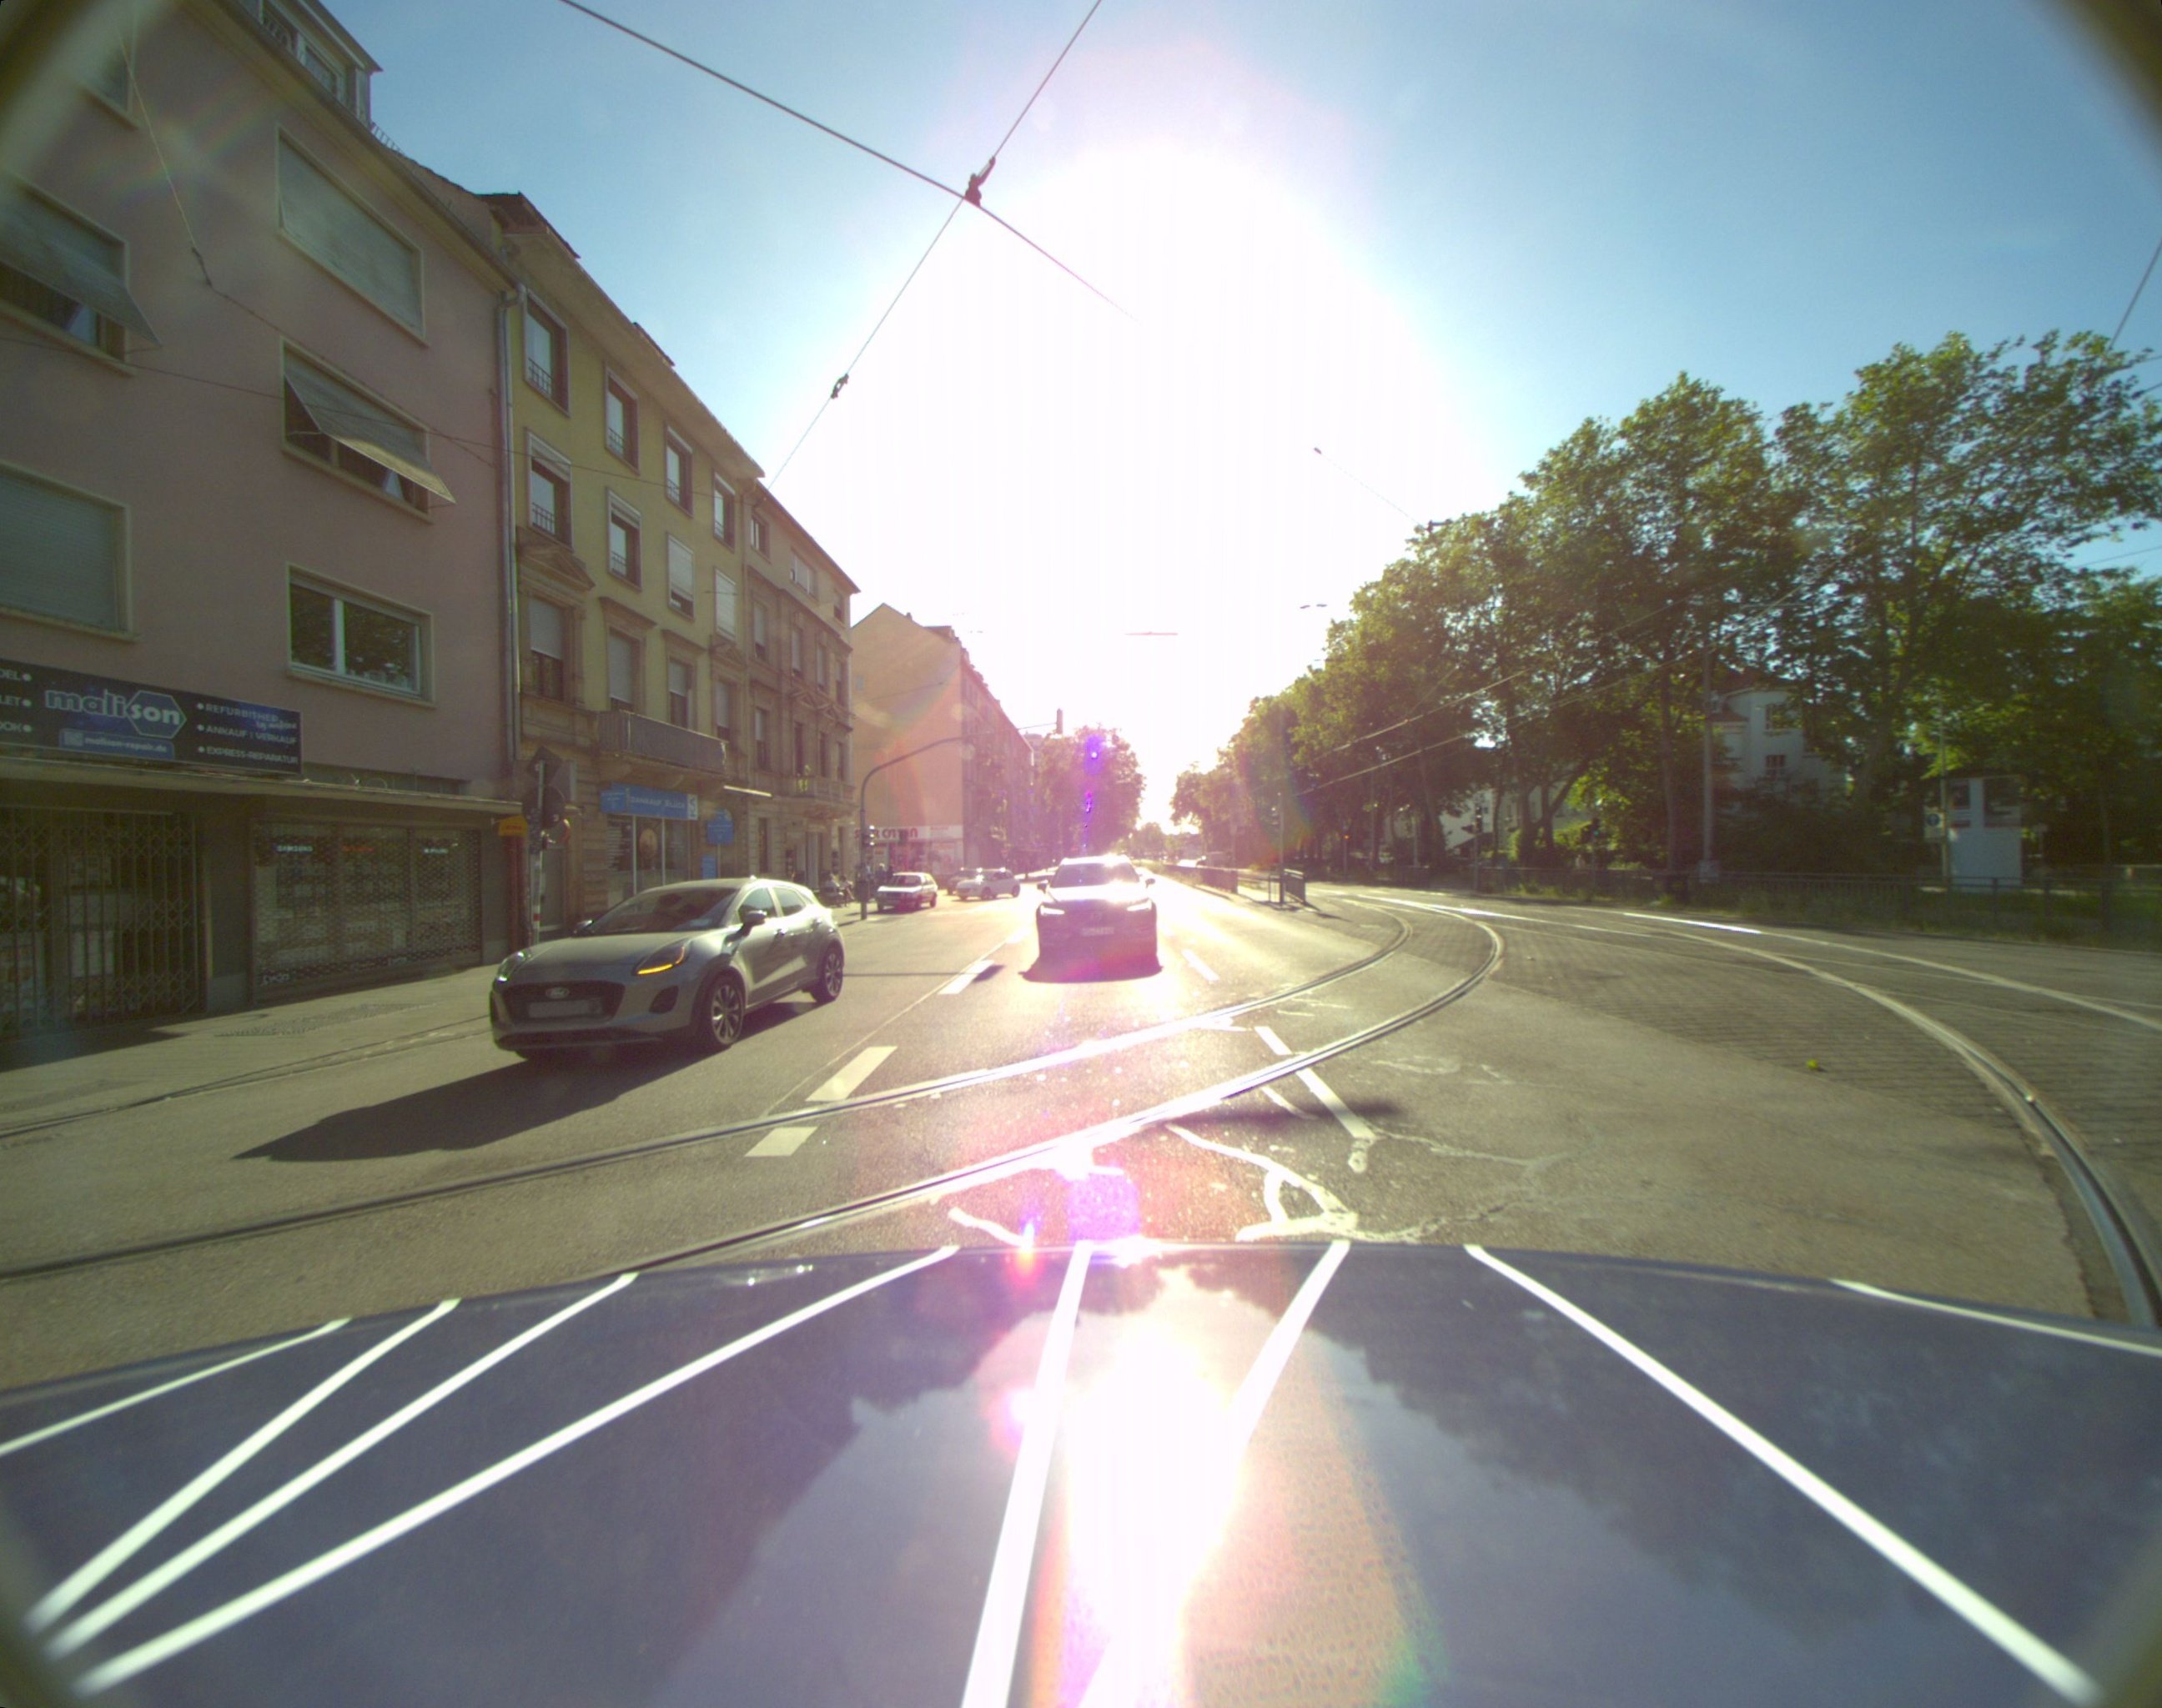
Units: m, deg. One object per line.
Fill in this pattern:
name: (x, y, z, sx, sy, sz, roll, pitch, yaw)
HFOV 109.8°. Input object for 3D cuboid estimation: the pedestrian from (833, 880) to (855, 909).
pedestrian: (-9.692, 1.659, 31.033, 0.658, 1.163, 0.496, -1, 0, 16)

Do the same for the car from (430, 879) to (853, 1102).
car: (-3.863, 1.086, 7.606, 1.659, 1.473, 3.973, -3, -1, 4)

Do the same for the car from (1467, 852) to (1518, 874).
car: (30.888, 0.669, 57.094, 1.722, 1.462, 3.757, -3, -1, 0)

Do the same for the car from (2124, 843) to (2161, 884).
car: (38.192, 0.302, 25.509, 1.633, 1.388, 3.485, -3, -1, 5)

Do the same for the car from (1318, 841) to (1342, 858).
car: (28.097, -0.506, 85.728, 1.745, 1.782, 3.743, -1, -1, 5)

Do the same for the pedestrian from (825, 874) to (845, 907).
pedestrian: (-9.643, 1.444, 29.832, 0.495, 1.252, 0.660, -1, 0, 5)

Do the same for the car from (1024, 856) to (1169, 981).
car: (0.276, 0.929, 12.725, 1.968, 1.663, 4.001, -3, -1, 2)

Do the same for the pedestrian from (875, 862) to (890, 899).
pedestrian: (-9.491, 1.277, 36.359, 0.495, 1.752, 0.660, -1, 0, 2)

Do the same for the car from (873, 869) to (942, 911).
car: (-6.799, 1.367, 30.175, 1.739, 1.510, 4.001, 0, 0, 2)

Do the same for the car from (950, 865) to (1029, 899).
car: (-4.647, 1.409, 39.078, 1.812, 1.442, 4.007, -3, -1, 34)

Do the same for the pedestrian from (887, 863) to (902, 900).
pedestrian: (-8.896, 1.310, 36.200, 0.495, 1.752, 0.660, -1, 0, 2)
